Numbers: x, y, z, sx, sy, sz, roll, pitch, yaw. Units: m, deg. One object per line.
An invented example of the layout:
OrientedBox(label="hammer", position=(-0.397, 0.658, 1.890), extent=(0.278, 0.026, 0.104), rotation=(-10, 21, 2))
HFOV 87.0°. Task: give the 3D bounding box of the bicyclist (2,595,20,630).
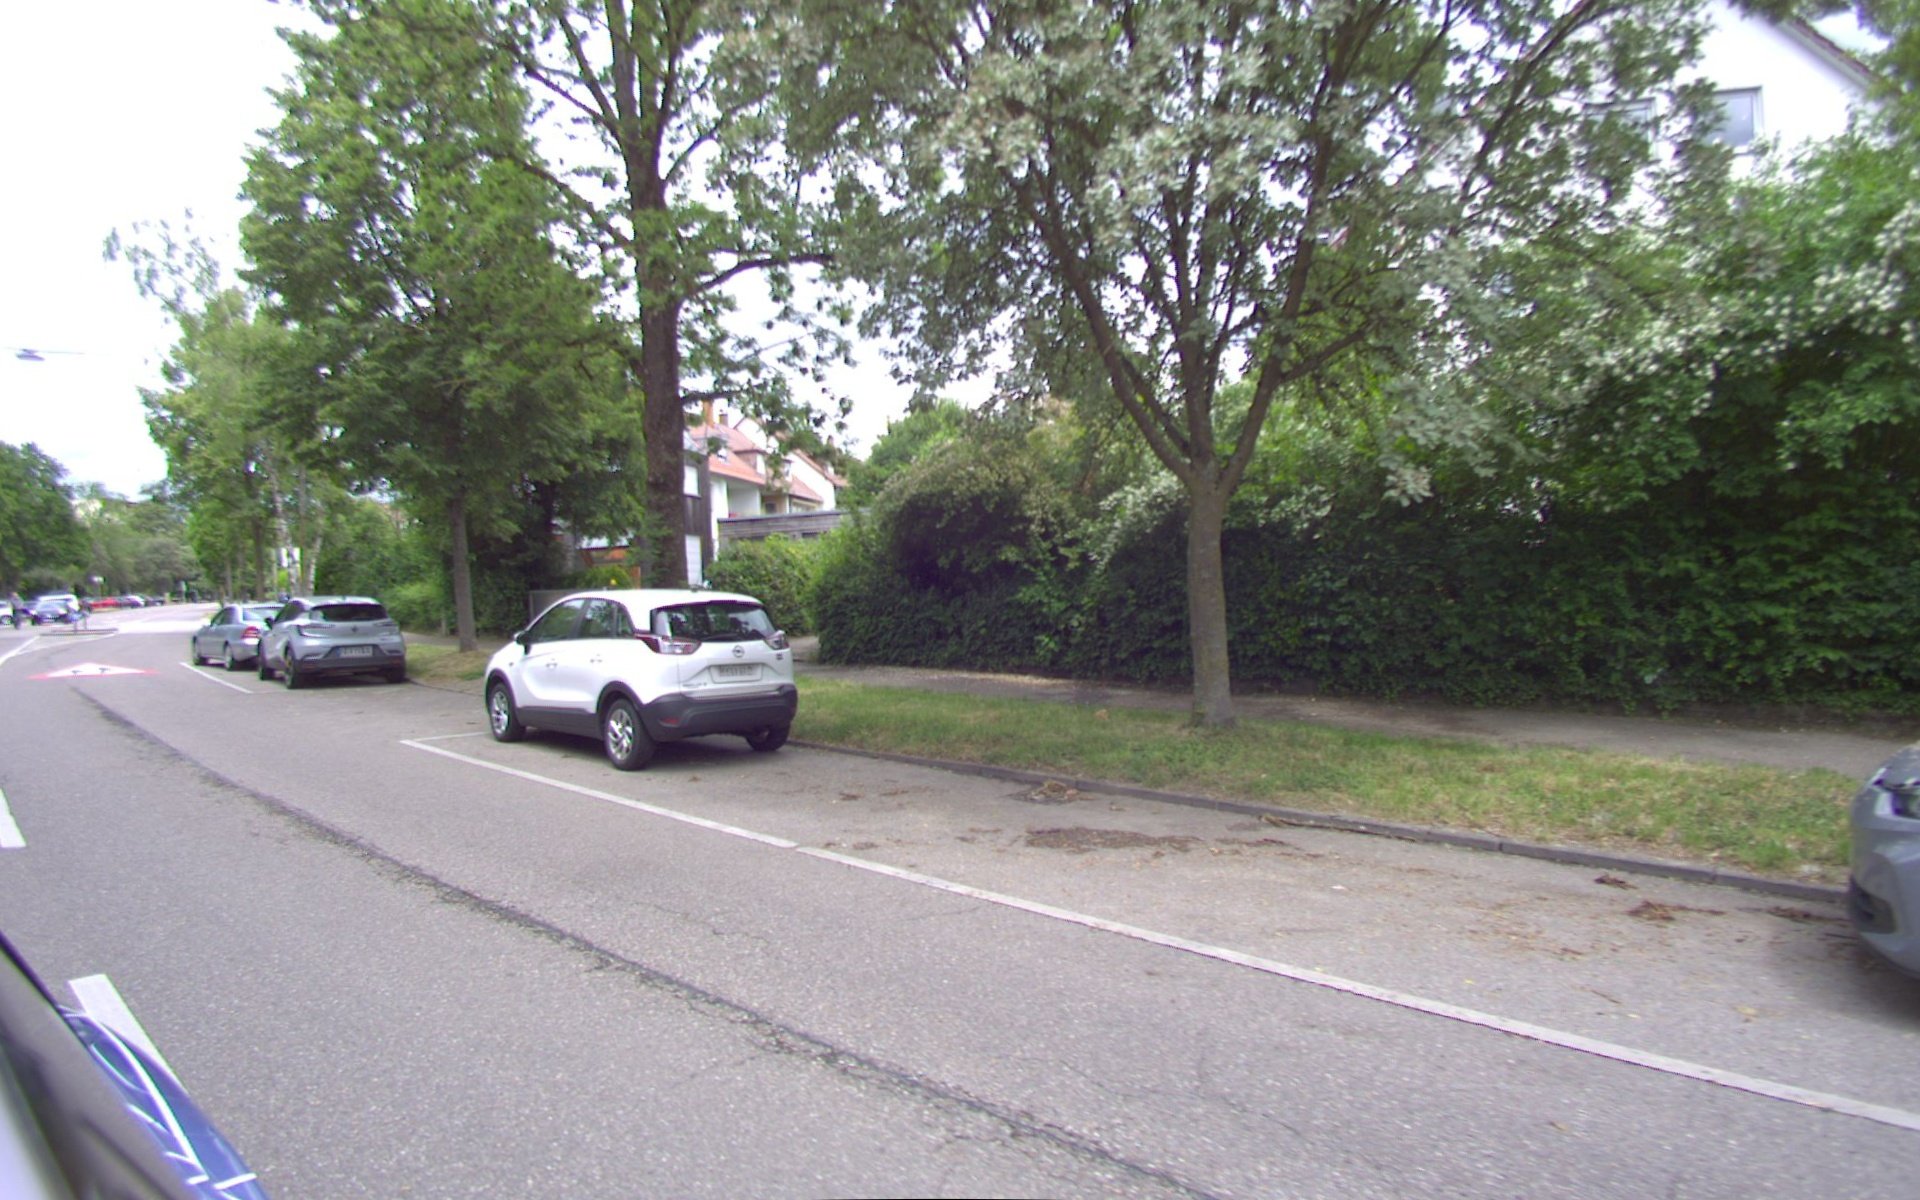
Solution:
OrientedBox(label="bicyclist", position=(-49.131, 0.628, 52.406), extent=(0.628, 1.792, 0.638), rotation=(0, 1, 45))

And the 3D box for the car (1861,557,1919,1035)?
OrientedBox(label="car", position=(5.228, 0.609, 2.647), extent=(4.225, 1.549, 1.847), rotation=(-1, 0, 41))

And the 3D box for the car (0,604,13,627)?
OrientedBox(label="car", position=(-63.051, 1.088, 64.132), extent=(1.839, 1.475, 3.969), rotation=(-1, 2, 24))

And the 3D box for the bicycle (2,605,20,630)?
OrientedBox(label="bicycle", position=(-49.215, 0.907, 52.481), extent=(0.638, 1.246, 1.878), rotation=(-2, 1, -44))

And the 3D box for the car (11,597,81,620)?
OrientedBox(label="car", position=(-80.252, 0.719, 88.913), extent=(1.853, 1.771, 4.178), rotation=(-1, 2, 31))

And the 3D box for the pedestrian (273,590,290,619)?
OrientedBox(label="pedestrian", position=(-40.375, 0.255, 60.193), extent=(0.683, 1.723, 0.779), rotation=(-2, 1, -43))

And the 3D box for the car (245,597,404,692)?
OrientedBox(label="car", position=(-11.721, 0.734, 18.558), extent=(1.715, 1.549, 4.193), rotation=(0, 0, -43))

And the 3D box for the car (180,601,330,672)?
OrientedBox(label="car", position=(-15.807, 0.749, 22.613), extent=(4.470, 1.427, 1.717), rotation=(-1, 0, 41))

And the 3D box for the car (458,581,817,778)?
OrientedBox(label="car", position=(-3.412, 0.658, 10.259), extent=(4.142, 1.590, 1.716), rotation=(-1, 0, 44))

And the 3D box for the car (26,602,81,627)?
OrientedBox(label="car", position=(-54.367, 0.828, 60.748), extent=(1.831, 1.384, 4.087), rotation=(-2, 1, -33))

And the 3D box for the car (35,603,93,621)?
OrientedBox(label="car", position=(-83.102, 1.136, 93.916), extent=(1.655, 1.445, 3.805), rotation=(-1, 3, 42))
